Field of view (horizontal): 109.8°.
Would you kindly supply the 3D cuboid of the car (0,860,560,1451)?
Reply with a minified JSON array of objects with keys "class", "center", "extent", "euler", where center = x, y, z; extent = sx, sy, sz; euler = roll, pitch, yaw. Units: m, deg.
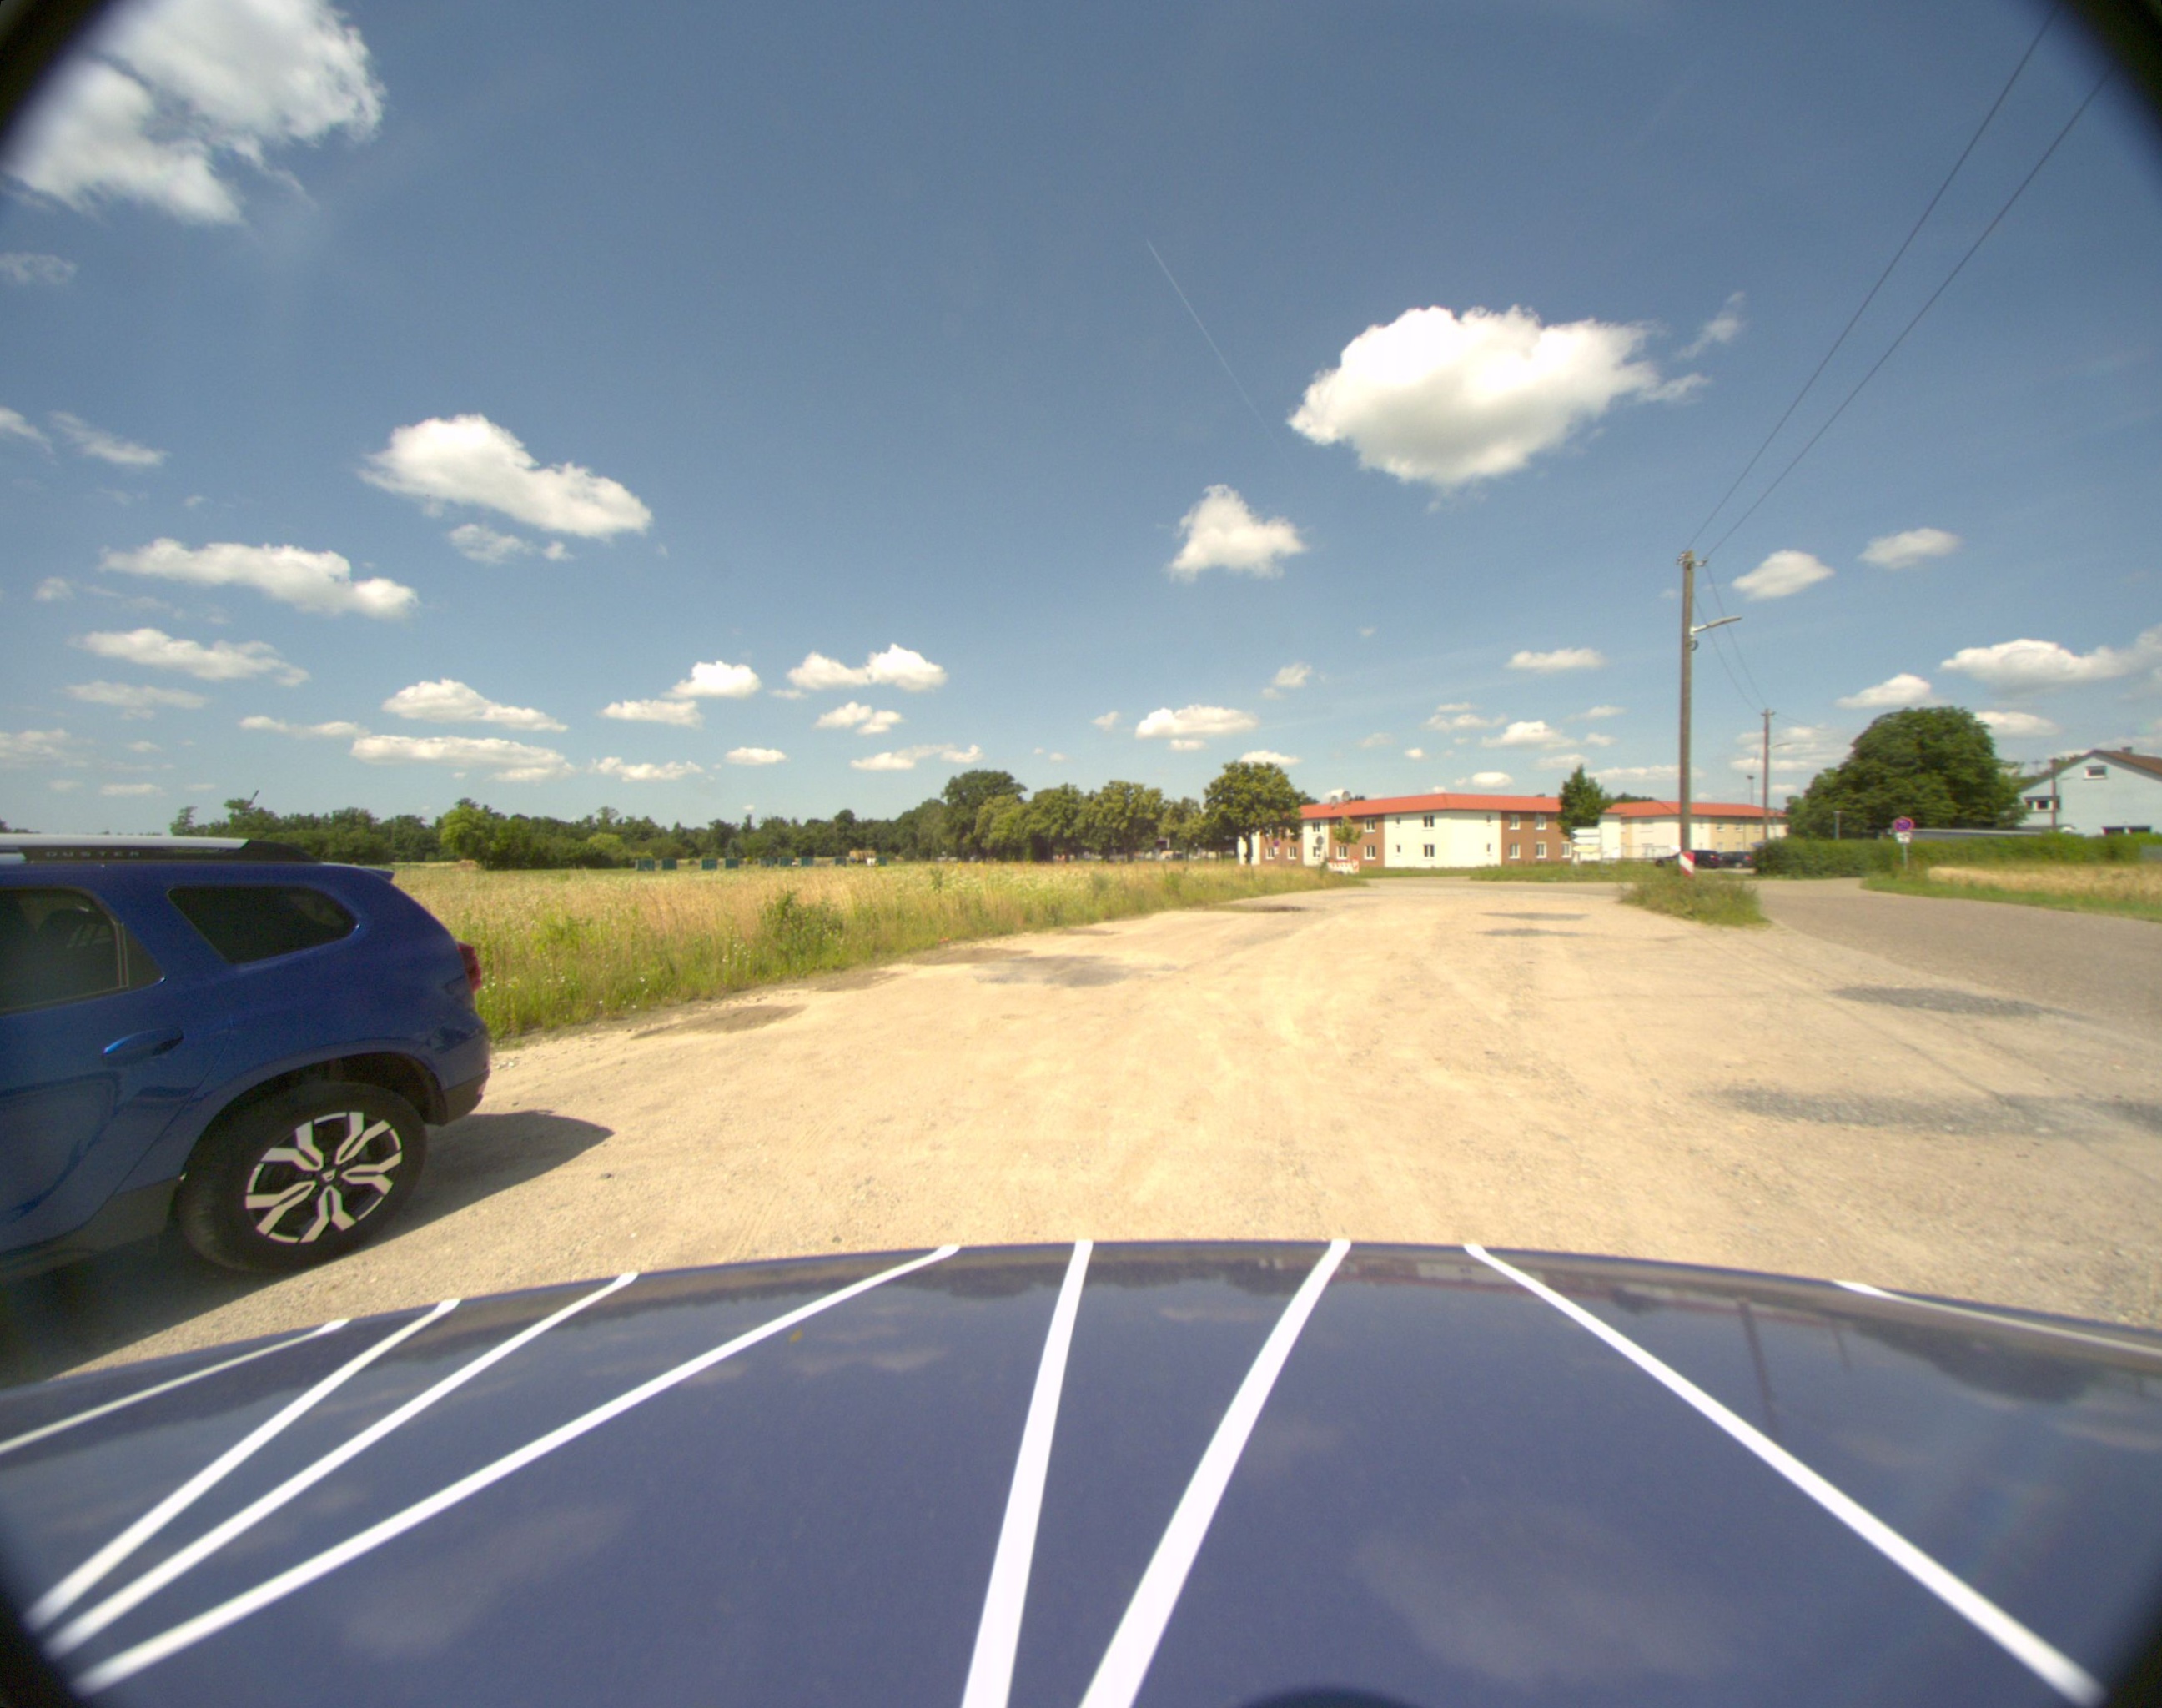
[{"class":"car","center":[-4.205,0.928,1.920],"extent":[1.860,1.651,4.464],"euler":[-1,1,19]}]

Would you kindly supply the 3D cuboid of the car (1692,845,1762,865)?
[{"class":"car","center":[55.310,0.078,65.119],"extent":[2.003,1.605,4.139],"euler":[0,0,-26]}]

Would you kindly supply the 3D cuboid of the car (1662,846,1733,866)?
[{"class":"car","center":[51.619,0.168,63.714],"extent":[2.003,1.605,4.139],"euler":[0,0,-26]}]
